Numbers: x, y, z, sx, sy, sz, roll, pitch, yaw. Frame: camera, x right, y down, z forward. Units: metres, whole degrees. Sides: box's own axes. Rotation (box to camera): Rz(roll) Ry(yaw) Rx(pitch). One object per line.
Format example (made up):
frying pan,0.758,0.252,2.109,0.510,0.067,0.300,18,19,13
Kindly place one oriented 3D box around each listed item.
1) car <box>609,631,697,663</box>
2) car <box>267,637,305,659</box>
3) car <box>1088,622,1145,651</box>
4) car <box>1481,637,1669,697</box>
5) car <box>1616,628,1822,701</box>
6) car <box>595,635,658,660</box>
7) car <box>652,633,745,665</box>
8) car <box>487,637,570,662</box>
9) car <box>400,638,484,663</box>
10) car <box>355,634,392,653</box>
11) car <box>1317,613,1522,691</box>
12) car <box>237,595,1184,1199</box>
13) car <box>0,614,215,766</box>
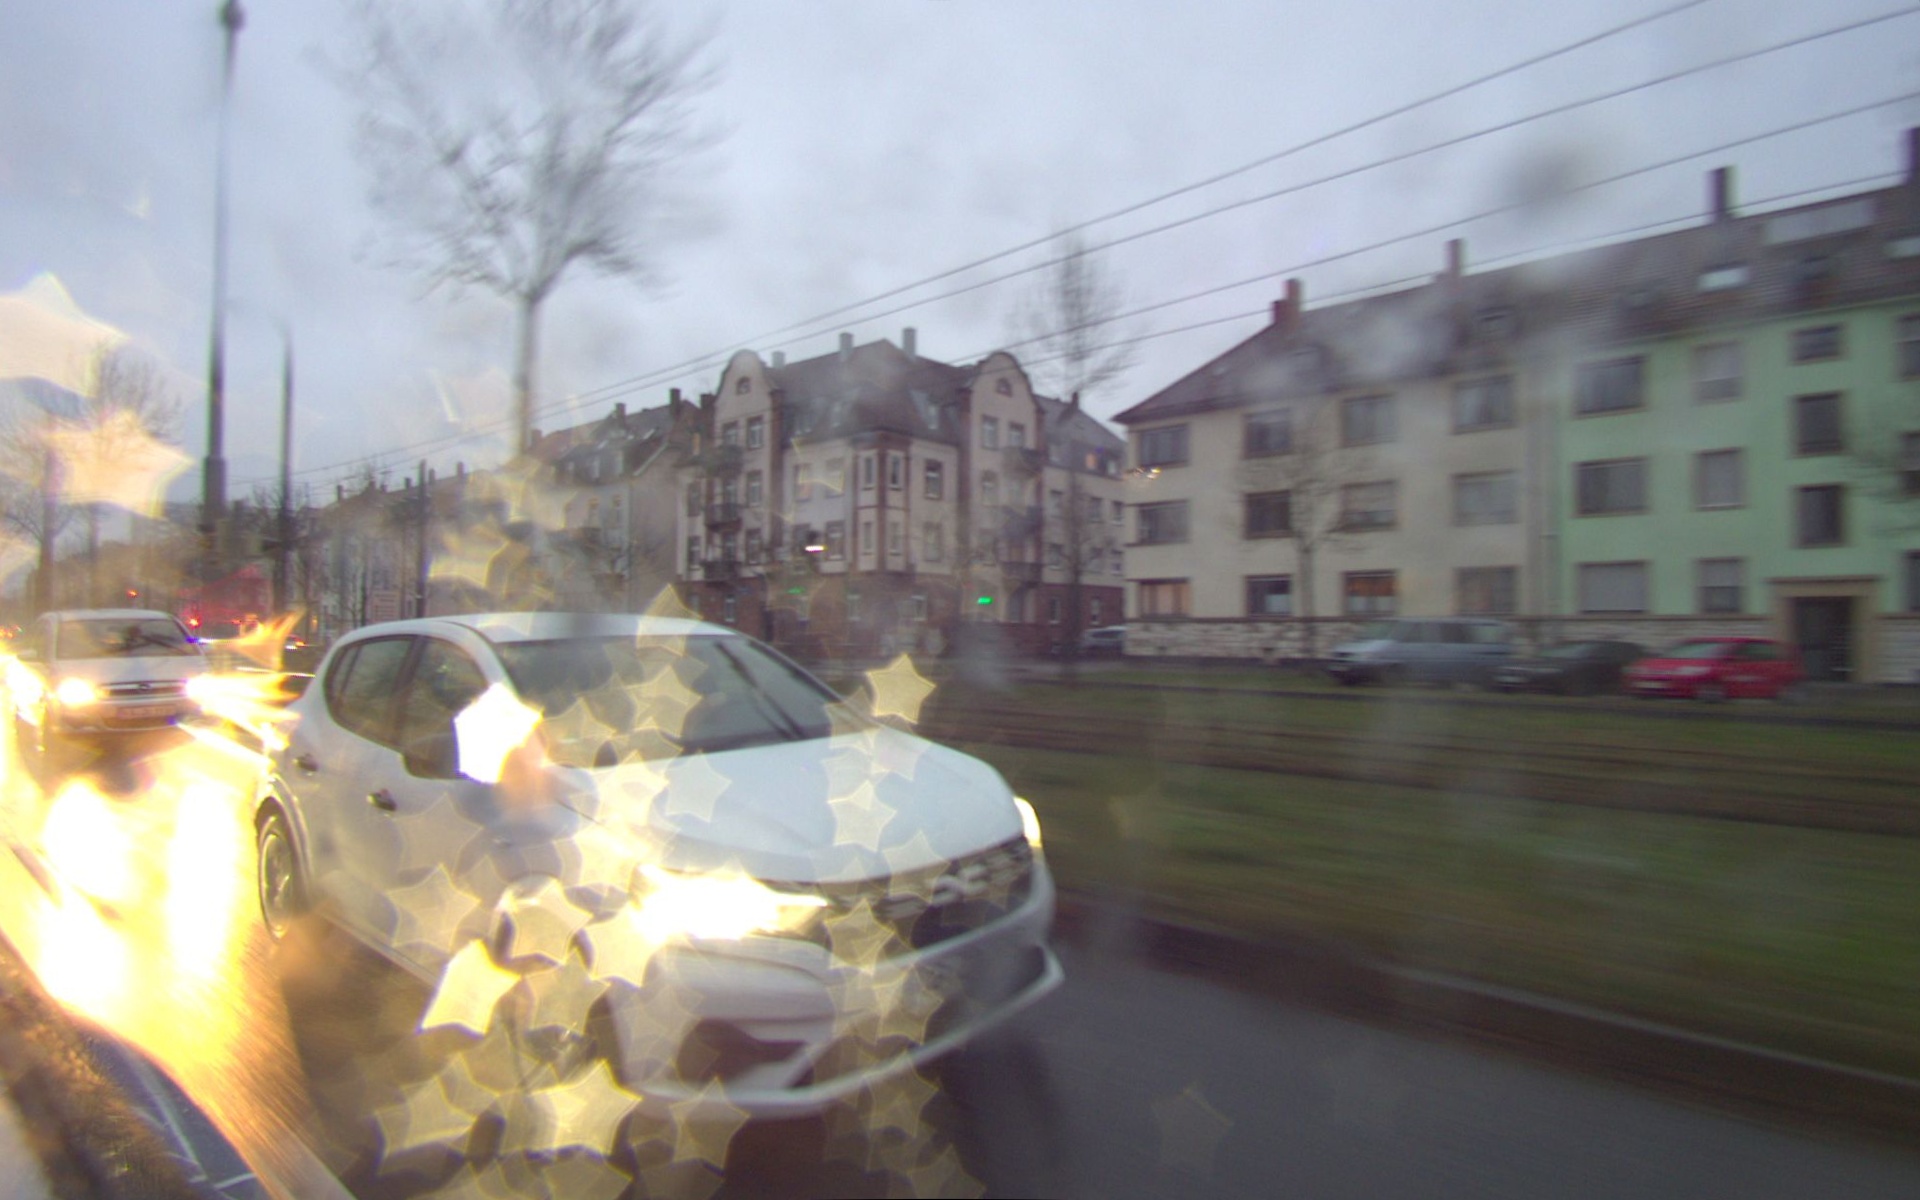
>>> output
car,-14.917,2.288,49.307,3.978,1.239,1.352,-3,2,-12
car,-51.240,3.631,76.946,3.783,1.516,1.529,-2,-1,42
car,9.915,2.281,63.946,1.803,1.721,3.656,-2,-1,42
car,14.149,1.497,23.340,3.511,1.149,1.742,-1,0,-16
car,16.101,1.330,21.500,3.520,1.319,1.691,-1,0,-16
car,-16.913,2.377,51.391,2.870,0.997,1.800,-3,2,-14
car,-12.198,2.291,47.418,4.039,1.169,1.716,-3,2,-10
car,-25.720,2.944,60.414,4.198,1.267,1.836,-1,-1,-8
car,-33.670,3.244,65.903,4.586,1.443,1.698,-1,-1,-12
car,-45.418,3.367,78.359,3.911,1.350,1.449,-2,-1,44
car,11.722,1.277,25.894,4.580,1.736,1.838,-1,0,-15
car,-1.319,0.774,4.016,3.999,1.485,1.671,-2,-1,41
car,-10.481,0.968,12.325,3.908,1.531,1.616,-2,-1,44
